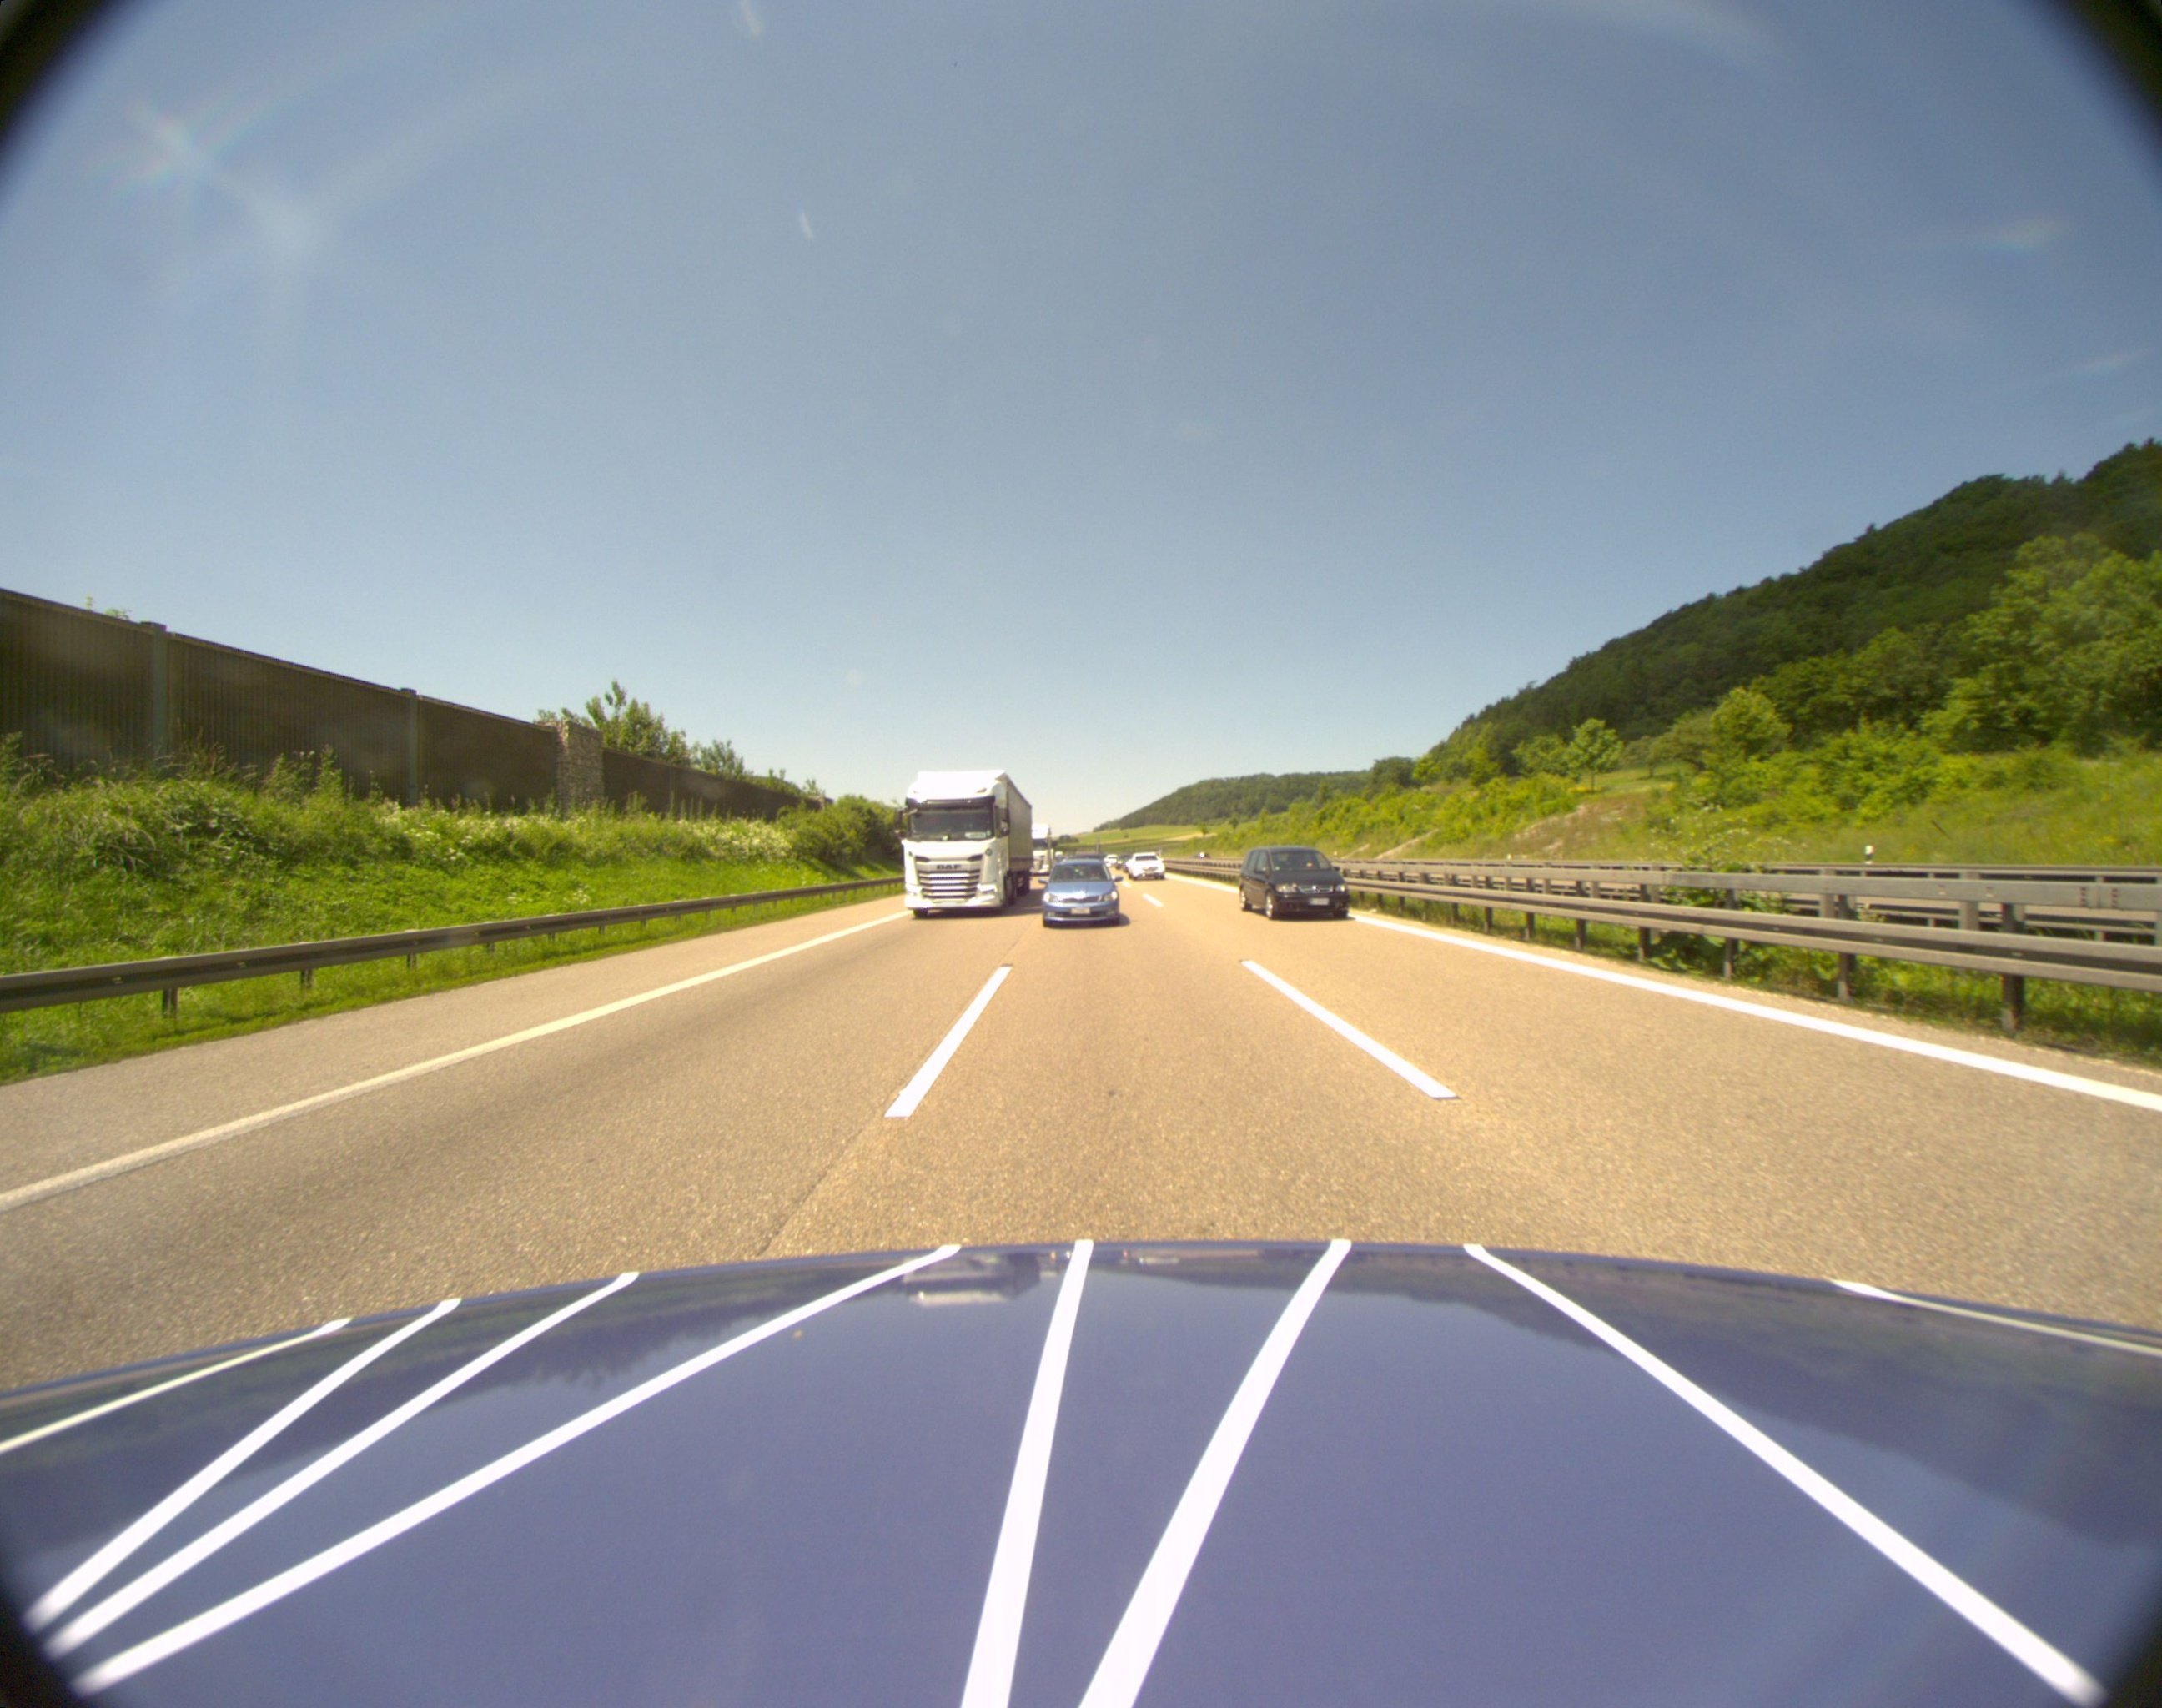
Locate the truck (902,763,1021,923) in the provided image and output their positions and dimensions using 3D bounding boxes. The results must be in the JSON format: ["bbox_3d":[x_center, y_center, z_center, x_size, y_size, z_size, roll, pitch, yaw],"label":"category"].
[{"bbox_3d":[-3.244,-0.299,22.227,2.484,3.954,6.380,-1,0,-1],"label":"truck"}]

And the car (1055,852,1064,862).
[{"bbox_3d":[-4.918,0.639,172.864,1.999,2.002,3.999,-2,1,-1],"label":"car"}]

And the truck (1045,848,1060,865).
[{"bbox_3d":[-3.881,0.308,104.167,1.836,2.267,6.594,-2,1,0],"label":"truck"}]

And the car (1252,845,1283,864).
[{"bbox_3d":[19.293,0.031,78.889,2.065,1.930,4.660,-1,0,0],"label":"car"}]

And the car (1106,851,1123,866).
[{"bbox_3d":[4.198,0.542,94.847,1.998,1.702,4.000,-2,1,3],"label":"car"}]

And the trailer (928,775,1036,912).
[{"bbox_3d":[-3.290,-0.342,29.111,2.484,3.954,13.653,-1,0,-1],"label":"trailer"}]

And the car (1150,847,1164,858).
[{"bbox_3d":[13.475,-0.237,134.688,1.998,1.828,5.226,-1,0,0],"label":"car"}]

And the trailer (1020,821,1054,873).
[{"bbox_3d":[-3.857,-0.625,68.180,2.544,4.085,13.623,-2,1,-2],"label":"trailer"}]

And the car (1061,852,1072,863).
[{"bbox_3d":[-2.777,0.696,144.394,1.999,2.002,3.999,-2,1,-1],"label":"car"}]

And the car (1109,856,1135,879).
[{"bbox_3d":[3.339,1.060,62.798,1.998,1.692,4.000,-2,1,3],"label":"car"}]

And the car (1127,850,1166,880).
[{"bbox_3d":[3.868,0.621,45.474,1.998,1.612,4.000,-2,1,1],"label":"car"}]

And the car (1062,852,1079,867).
[{"bbox_3d":[-1.296,0.653,92.762,1.999,1.702,3.999,-2,1,-1],"label":"car"}]

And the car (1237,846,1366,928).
[{"bbox_3d":[4.919,0.667,17.614,1.805,1.625,4.446,-1,0,2],"label":"car"}]

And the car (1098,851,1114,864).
[{"bbox_3d":[3.473,0.478,104.266,1.998,1.702,4.000,-2,1,3],"label":"car"}]

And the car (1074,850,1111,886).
[{"bbox_3d":[0.618,0.678,39.211,1.736,1.674,4.197,-1,0,1],"label":"car"}]

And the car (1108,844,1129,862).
[{"bbox_3d":[3.810,-0.109,77.589,1.998,1.702,4.000,-2,1,3],"label":"car"}]

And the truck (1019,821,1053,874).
[{"bbox_3d":[-3.611,-0.531,61.975,2.532,4.065,6.077,-2,1,-2],"label":"truck"}]

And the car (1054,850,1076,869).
[{"bbox_3d":[-1.559,0.557,74.687,1.999,1.702,3.999,-2,1,-1],"label":"car"}]

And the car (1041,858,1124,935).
[{"bbox_3d":[0.002,0.881,17.820,1.660,1.481,4.652,-1,0,-1],"label":"car"}]
